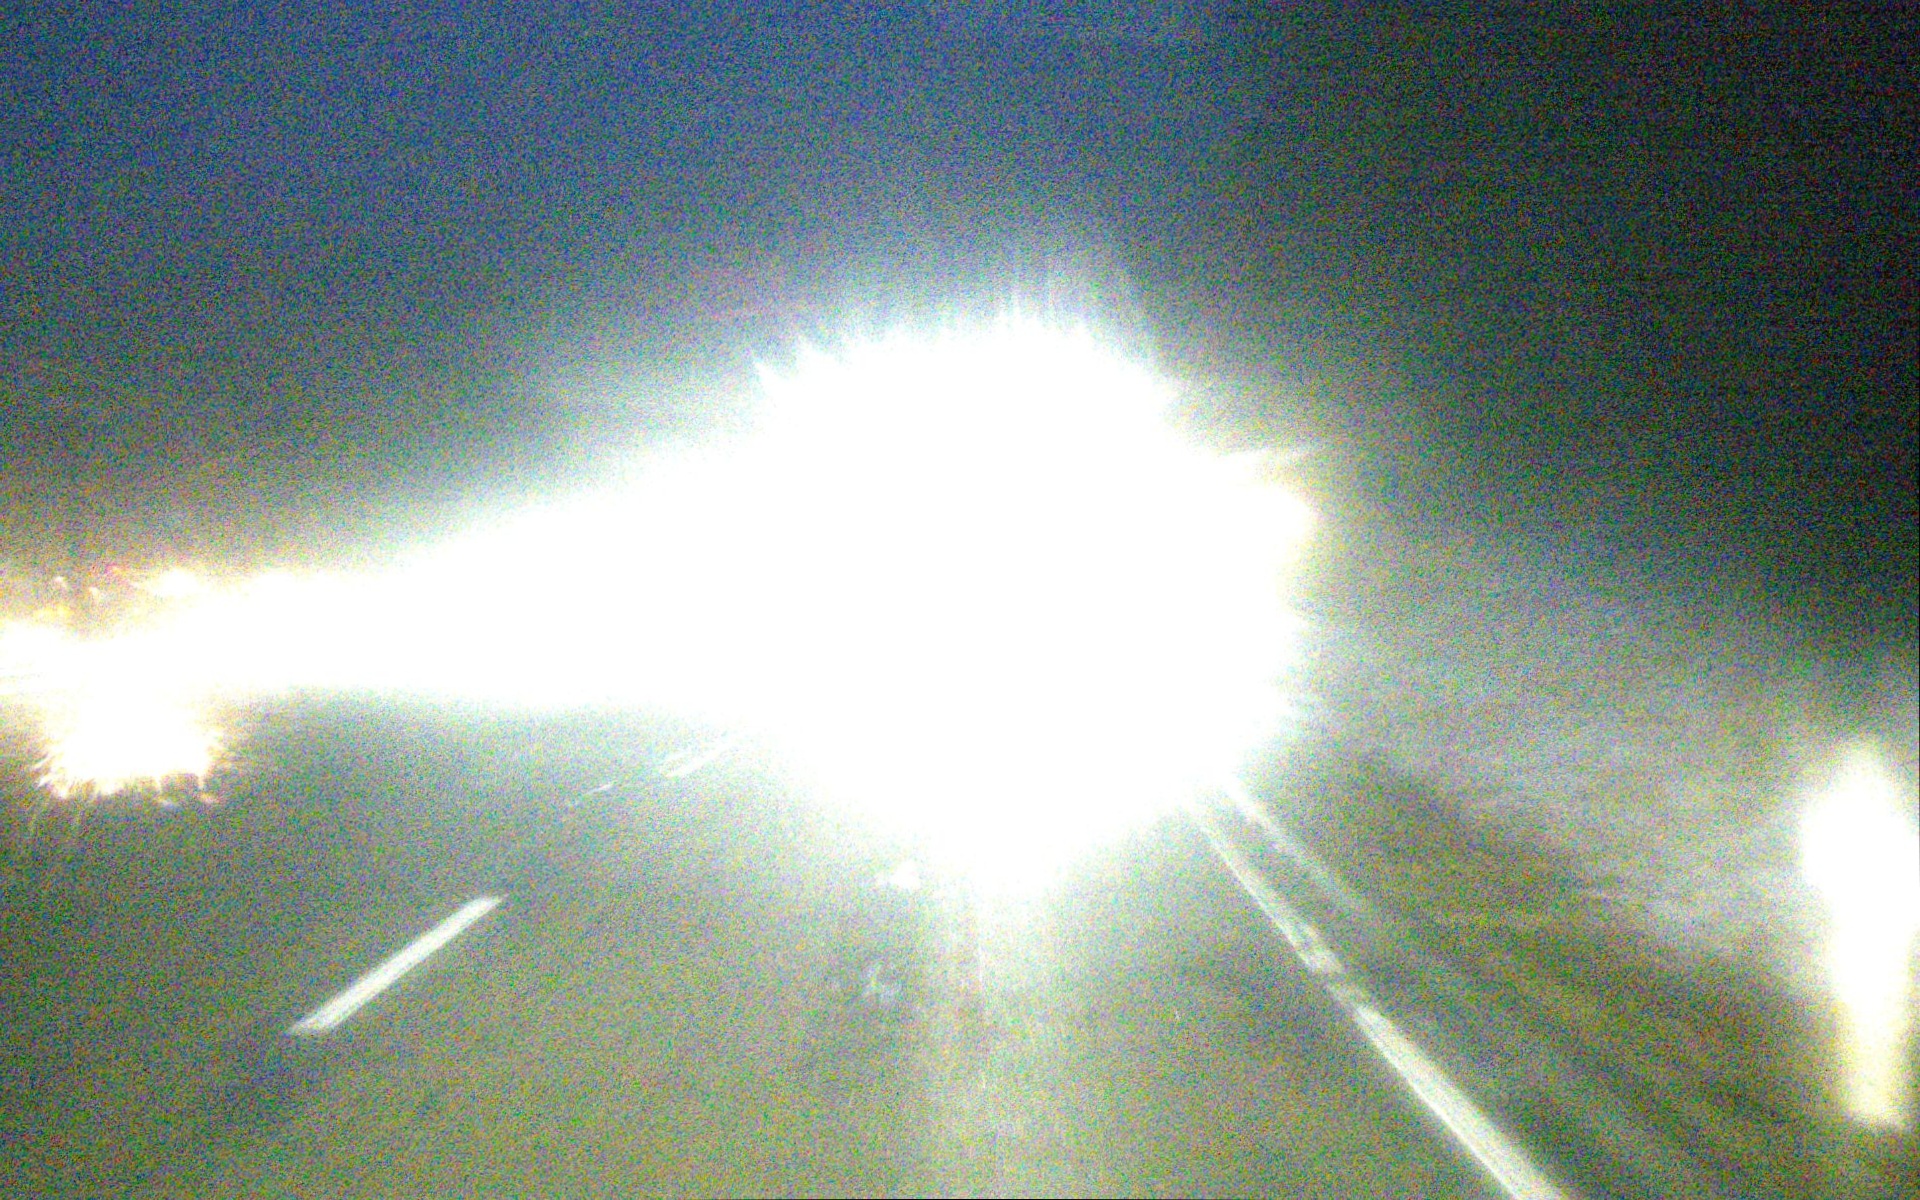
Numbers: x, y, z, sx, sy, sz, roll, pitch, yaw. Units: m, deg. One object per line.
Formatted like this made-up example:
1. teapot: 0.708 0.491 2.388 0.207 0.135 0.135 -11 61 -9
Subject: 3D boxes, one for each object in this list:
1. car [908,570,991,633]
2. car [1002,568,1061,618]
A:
1. car: -0.213 0.011 79.969 1.740 1.397 3.860 1 1 3
2. car: 2.497 -0.260 118.488 1.781 1.661 4.471 1 1 4
